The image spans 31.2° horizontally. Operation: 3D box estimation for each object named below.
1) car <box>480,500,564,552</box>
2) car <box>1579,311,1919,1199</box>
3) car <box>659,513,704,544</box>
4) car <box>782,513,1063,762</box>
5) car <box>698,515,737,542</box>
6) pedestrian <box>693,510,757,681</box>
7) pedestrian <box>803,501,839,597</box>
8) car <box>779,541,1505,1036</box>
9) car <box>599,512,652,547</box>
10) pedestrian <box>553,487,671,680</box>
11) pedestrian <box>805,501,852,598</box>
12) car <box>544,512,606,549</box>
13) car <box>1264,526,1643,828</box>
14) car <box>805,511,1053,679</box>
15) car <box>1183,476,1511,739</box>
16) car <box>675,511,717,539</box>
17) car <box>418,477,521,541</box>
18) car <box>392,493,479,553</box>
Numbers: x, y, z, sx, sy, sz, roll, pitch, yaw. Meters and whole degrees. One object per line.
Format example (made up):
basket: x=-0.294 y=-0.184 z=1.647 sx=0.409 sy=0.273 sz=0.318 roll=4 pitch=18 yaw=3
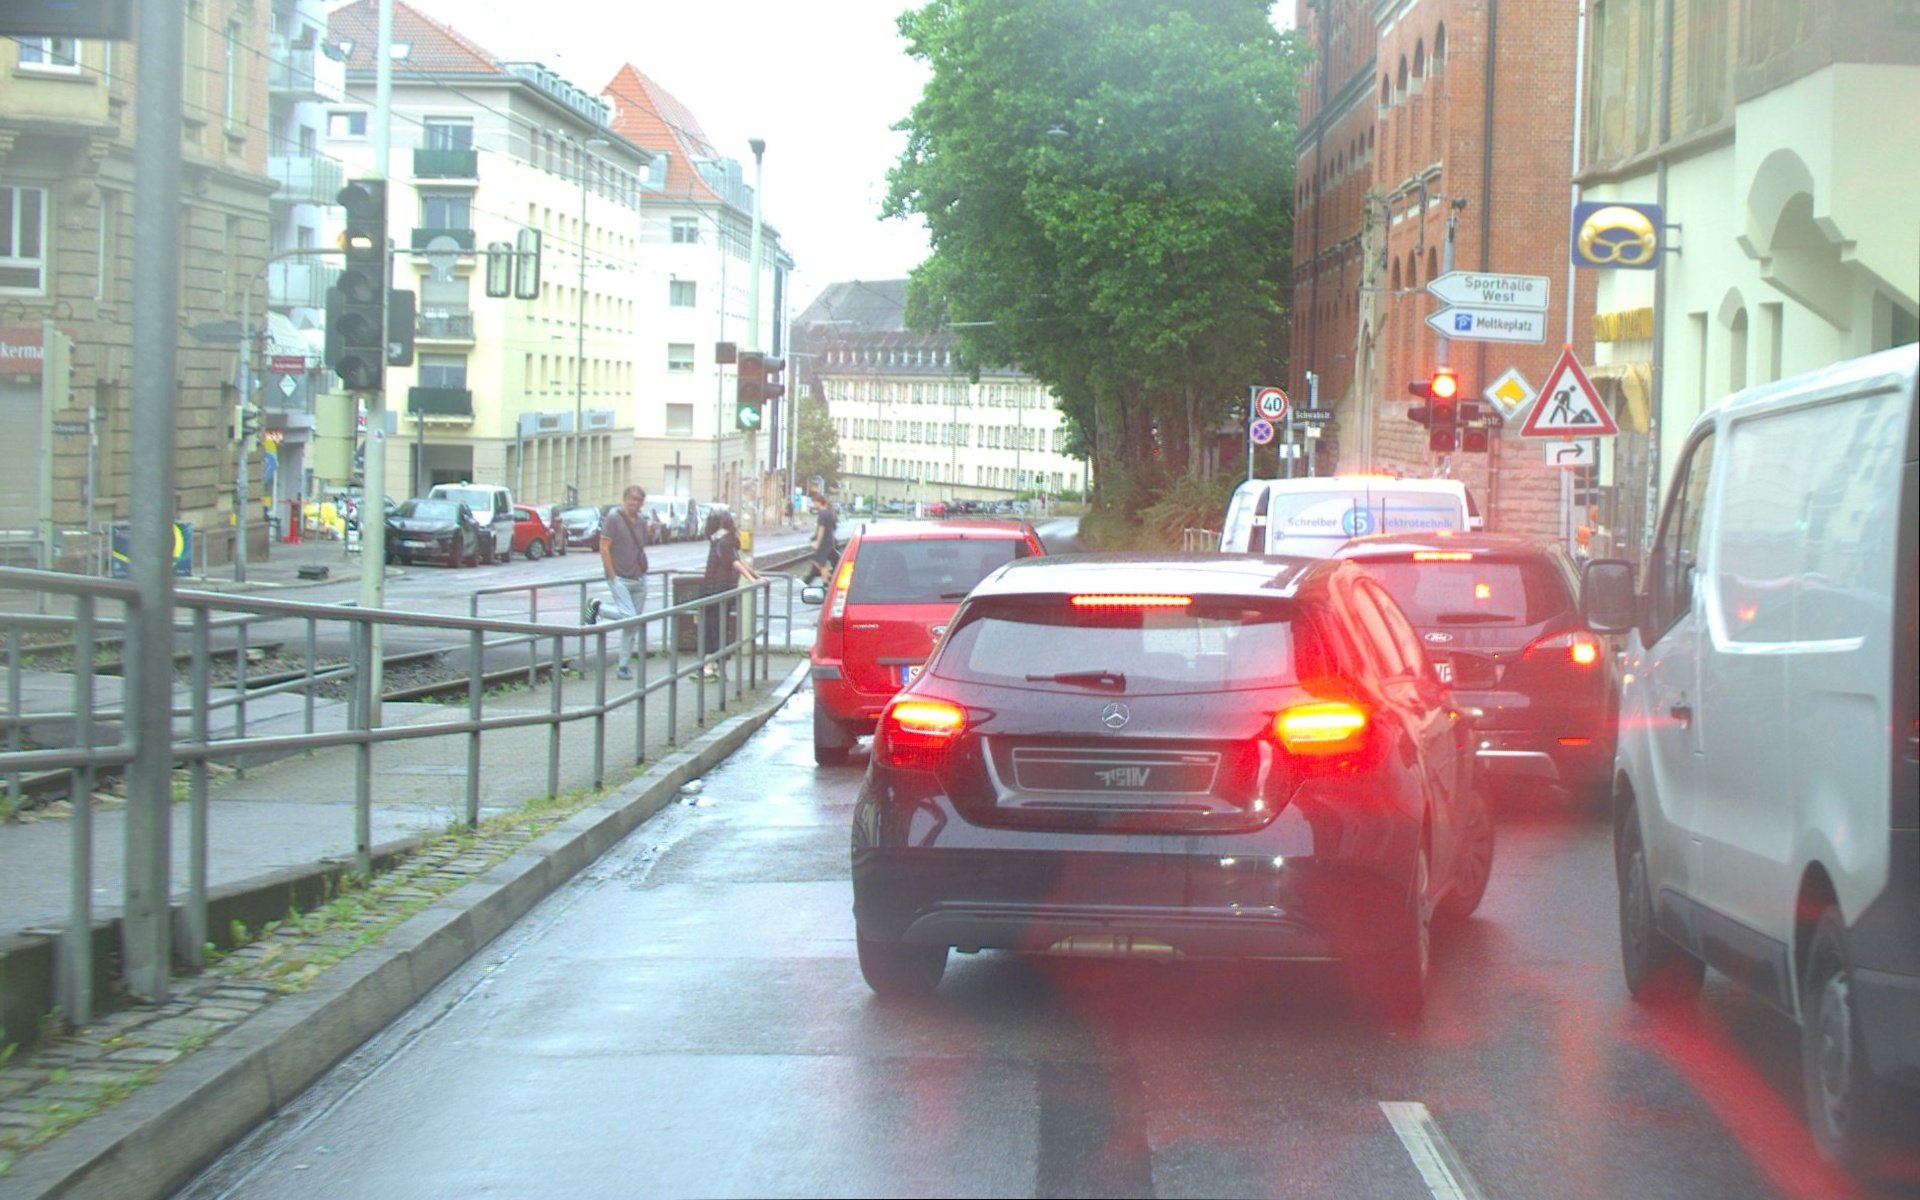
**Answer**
car: x=-11.870 y=-2.016 z=93.401 sx=1.680 sy=1.351 sz=3.703 roll=1 pitch=1 yaw=2
car: x=2.954 y=0.369 z=9.152 sx=1.921 sy=1.929 sz=4.685 roll=1 pitch=1 yaw=3
car: x=-11.082 y=-2.843 z=136.799 sx=1.395 sy=1.167 sz=3.162 roll=1 pitch=1 yaw=2
car: x=-0.238 y=0.184 z=22.501 sx=1.680 sy=1.484 sz=3.613 roll=1 pitch=1 yaw=0
car: x=-10.862 y=-3.191 z=154.172 sx=1.395 sy=1.167 sz=3.162 roll=1 pitch=1 yaw=2
pedestrian: x=-2.123 y=-0.042 z=31.034 sx=0.531 sy=1.525 sz=0.436 roll=1 pitch=1 yaw=-6
pedestrian: x=-2.427 y=-0.891 z=60.110 sx=0.518 sy=1.660 sz=0.476 roll=2 pitch=1 yaw=5
car: x=0.821 y=0.504 z=12.005 sx=1.896 sy=1.385 sz=3.998 roll=1 pitch=1 yaw=12
car: x=-11.593 y=-2.440 z=119.220 sx=1.395 sy=1.167 sz=3.162 roll=1 pitch=1 yaw=2
pedestrian: x=-3.154 y=-0.156 z=31.134 sx=0.739 sy=1.718 sz=0.741 roll=0 pitch=1 yaw=-41
pedestrian: x=-2.270 y=-0.867 z=59.322 sx=0.679 sy=1.655 sz=0.676 roll=1 pitch=1 yaw=8
car: x=-11.850 y=-2.137 z=106.025 sx=1.437 sy=1.103 sz=3.162 roll=1 pitch=1 yaw=2
car: x=2.655 y=0.340 z=19.321 sx=1.713 sy=1.464 sz=4.281 roll=1 pitch=1 yaw=3
car: x=-0.348 y=-0.082 z=33.292 sx=1.419 sy=1.484 sz=3.163 roll=1 pitch=2 yaw=-19
car: x=2.886 y=0.001 z=26.571 sx=1.933 sy=1.825 sz=4.281 roll=1 pitch=1 yaw=-1
car: x=-11.206 y=-3.180 z=146.105 sx=1.395 sy=1.167 sz=3.162 roll=1 pitch=1 yaw=2
car: x=-12.338 y=-2.286 z=86.632 sx=1.786 sy=1.525 sz=4.462 roll=1 pitch=1 yaw=2
car: x=-12.216 y=-1.807 z=80.253 sx=1.452 sy=1.314 sz=3.295 roll=2 pitch=2 yaw=1
